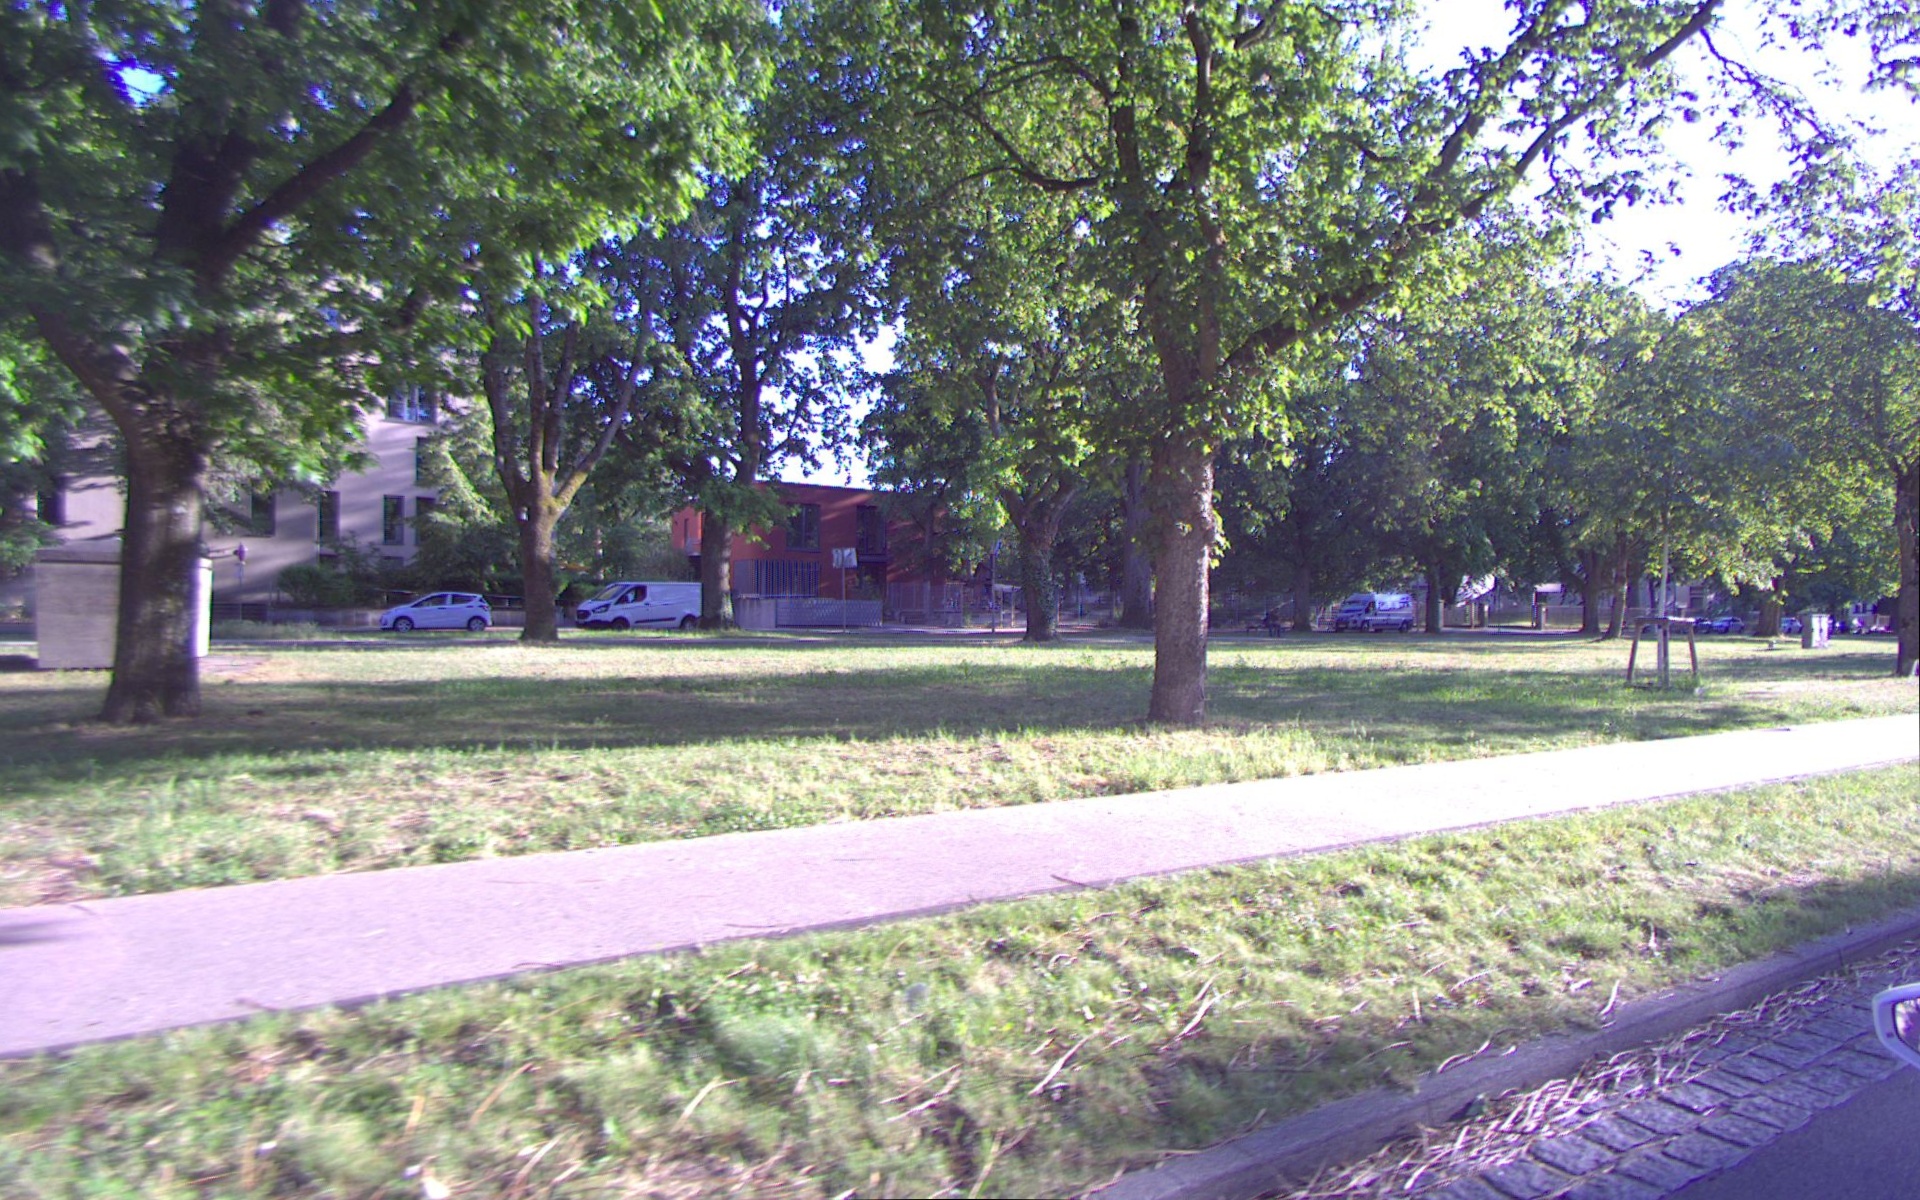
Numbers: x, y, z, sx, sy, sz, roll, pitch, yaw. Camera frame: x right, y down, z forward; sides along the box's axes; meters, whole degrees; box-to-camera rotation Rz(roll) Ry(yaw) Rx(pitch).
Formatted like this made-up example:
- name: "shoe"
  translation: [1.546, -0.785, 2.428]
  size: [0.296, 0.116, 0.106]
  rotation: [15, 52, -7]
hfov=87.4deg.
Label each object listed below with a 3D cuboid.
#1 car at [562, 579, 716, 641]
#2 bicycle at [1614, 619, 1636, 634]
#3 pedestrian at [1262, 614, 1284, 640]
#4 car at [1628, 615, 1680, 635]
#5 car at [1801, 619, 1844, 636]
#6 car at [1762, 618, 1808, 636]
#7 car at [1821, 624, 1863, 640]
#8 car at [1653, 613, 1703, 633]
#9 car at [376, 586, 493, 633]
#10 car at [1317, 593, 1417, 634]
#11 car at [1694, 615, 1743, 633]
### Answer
- name: "car"
  translation: [-12.096, 0.360, 38.130]
  size: [2.636, 2.142, 4.949]
  rotation: [2, 0, 37]
- name: "bicycle"
  translation: [54.946, 2.157, 82.958]
  size: [2.309, 1.191, 0.653]
  rotation: [2, -1, -33]
- name: "pedestrian"
  translation: [12.127, 1.042, 38.977]
  size: [0.601, 1.000, 0.547]
  rotation: [1, -1, -19]
- name: "car"
  translation: [56.577, 2.010, 81.896]
  size: [3.952, 1.528, 1.984]
  rotation: [2, -1, -30]
- name: "car"
  translation: [83.843, 2.655, 97.626]
  size: [4.066, 1.528, 1.984]
  rotation: [2, -1, -30]
- name: "car"
  translation: [76.183, 2.479, 92.712]
  size: [4.066, 1.528, 1.984]
  rotation: [2, -1, -30]
- name: "car"
  translation: [88.719, 3.241, 101.024]
  size: [4.066, 1.528, 1.984]
  rotation: [2, -1, -30]
- name: "car"
  translation: [60.491, 1.943, 84.638]
  size: [3.952, 1.528, 1.984]
  rotation: [2, -1, -30]
- name: "car"
  translation: [-19.229, 0.338, 36.813]
  size: [3.694, 1.639, 1.984]
  rotation: [1, 0, -30]
- name: "car"
  translation: [25.913, 0.881, 63.860]
  size: [6.248, 2.496, 2.706]
  rotation: [2, -1, -32]
- name: "car"
  translation: [65.957, 2.103, 87.315]
  size: [4.066, 1.528, 1.984]
  rotation: [2, -1, -30]
